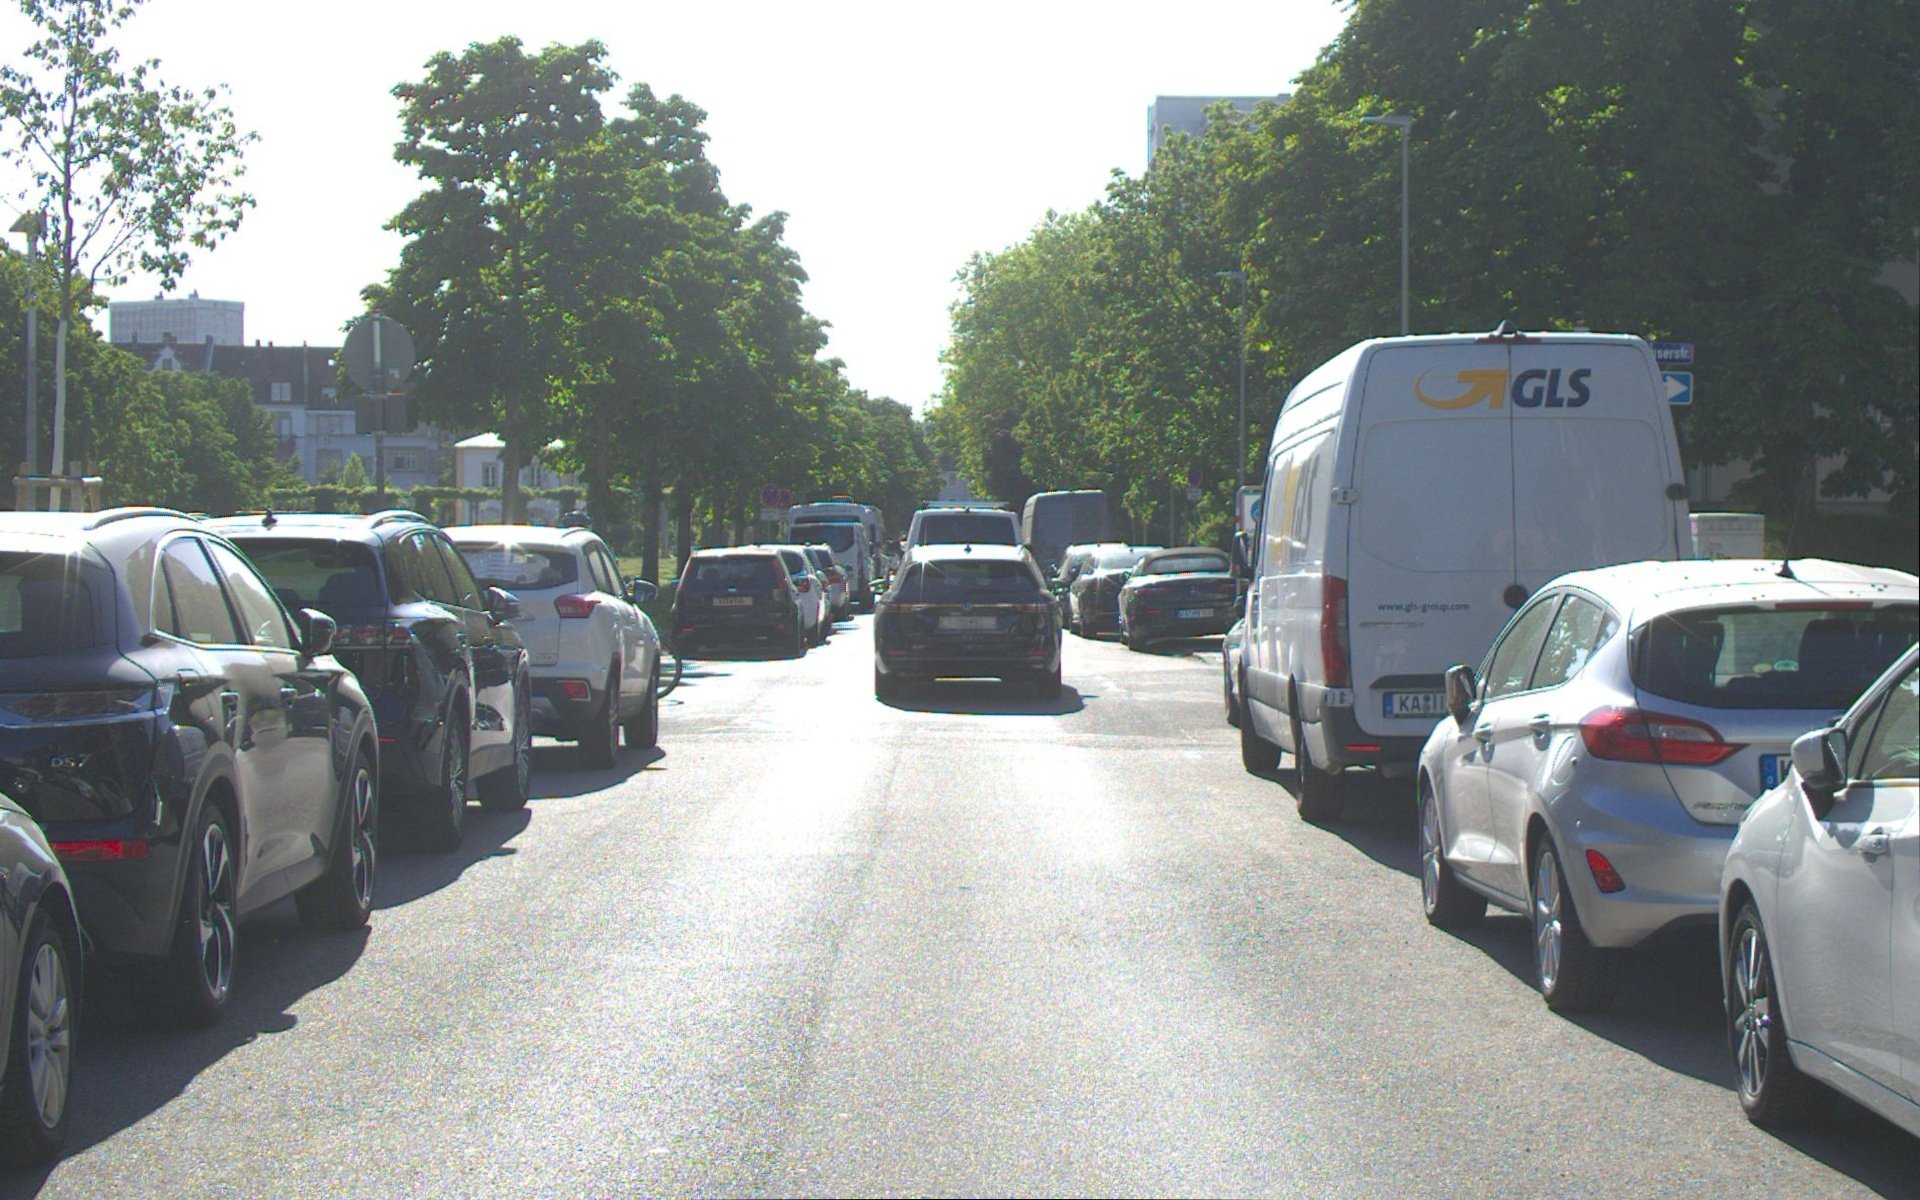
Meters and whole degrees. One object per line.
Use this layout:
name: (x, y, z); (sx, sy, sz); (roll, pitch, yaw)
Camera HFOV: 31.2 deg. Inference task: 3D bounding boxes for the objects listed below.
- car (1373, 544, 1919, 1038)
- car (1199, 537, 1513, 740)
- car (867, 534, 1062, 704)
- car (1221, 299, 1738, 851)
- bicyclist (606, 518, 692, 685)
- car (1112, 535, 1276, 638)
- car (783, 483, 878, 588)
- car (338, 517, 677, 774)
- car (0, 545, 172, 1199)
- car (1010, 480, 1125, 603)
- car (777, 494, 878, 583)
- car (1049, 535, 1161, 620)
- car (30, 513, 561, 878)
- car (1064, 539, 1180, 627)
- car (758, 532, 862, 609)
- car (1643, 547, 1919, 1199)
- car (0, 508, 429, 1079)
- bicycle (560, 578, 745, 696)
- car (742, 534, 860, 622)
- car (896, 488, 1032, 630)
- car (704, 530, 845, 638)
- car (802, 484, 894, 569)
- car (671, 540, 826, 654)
car: (2.767, 0.561, 12.653); (1.849, 1.461, 4.202); (1, 1, -2)
car: (3.155, 0.252, 28.273); (1.958, 1.476, 4.499); (-2, 1, -1)
car: (0.078, 0.136, 33.834); (1.779, 1.526, 4.000); (1, 1, 1)
car: (2.857, -0.196, 20.610); (2.142, 2.703, 6.841); (-2, 1, 1)
bicyclist: (-2.997, 0.006, 33.171); (0.788, 1.590, 0.696); (0, 1, -3)
car: (3.374, -0.230, 50.429); (2.125, 1.333, 4.506); (-2, 1, 1)
car: (-3.127, -1.569, 83.854); (2.098, 2.487, 4.127); (0, 1, 1)
car: (-3.140, 0.253, 24.653); (1.756, 1.641, 4.287); (-2, 1, 1)
car: (-3.054, 0.686, 7.057); (1.873, 1.514, 4.471); (-2, 1, -1)
car: (2.393, -1.345, 77.923); (2.162, 2.680, 5.417); (0, 1, -3)
car: (-2.949, -1.393, 77.444); (2.098, 1.936, 4.127); (0, 1, 0)
car: (2.620, -0.435, 62.763); (1.779, 1.482, 4.032); (0, 1, -1)
car: (-3.331, 0.393, 18.174); (1.842, 1.633, 4.715); (-2, 1, 0)
car: (2.622, -0.300, 56.390); (1.779, 1.366, 4.127); (0, 1, 1)
car: (-2.980, -0.620, 68.989); (1.833, 1.495, 4.127); (0, 1, 1)
car: (2.927, 0.623, 7.966); (1.878, 1.470, 4.140); (0, 1, 0)
car: (-3.161, 0.515, 12.085); (1.819, 1.604, 4.739); (-2, 1, 0)
bicycle: (-2.960, 0.351, 33.181); (1.760, 1.123, 0.663); (0, 1, -3)
car: (-2.704, -0.411, 59.190); (1.779, 1.456, 4.127); (0, 1, 1)
car: (0.095, -0.634, 51.335); (1.894, 1.984, 4.010); (-2, 1, 1)
car: (-2.721, -0.255, 51.261); (1.777, 1.490, 3.875); (-2, 1, 1)
car: (-3.522, -2.340, 109.306); (2.617, 2.636, 6.114); (0, 1, 1)
car: (-2.824, -0.055, 46.614); (1.748, 1.420, 3.916); (-2, 0, 1)
